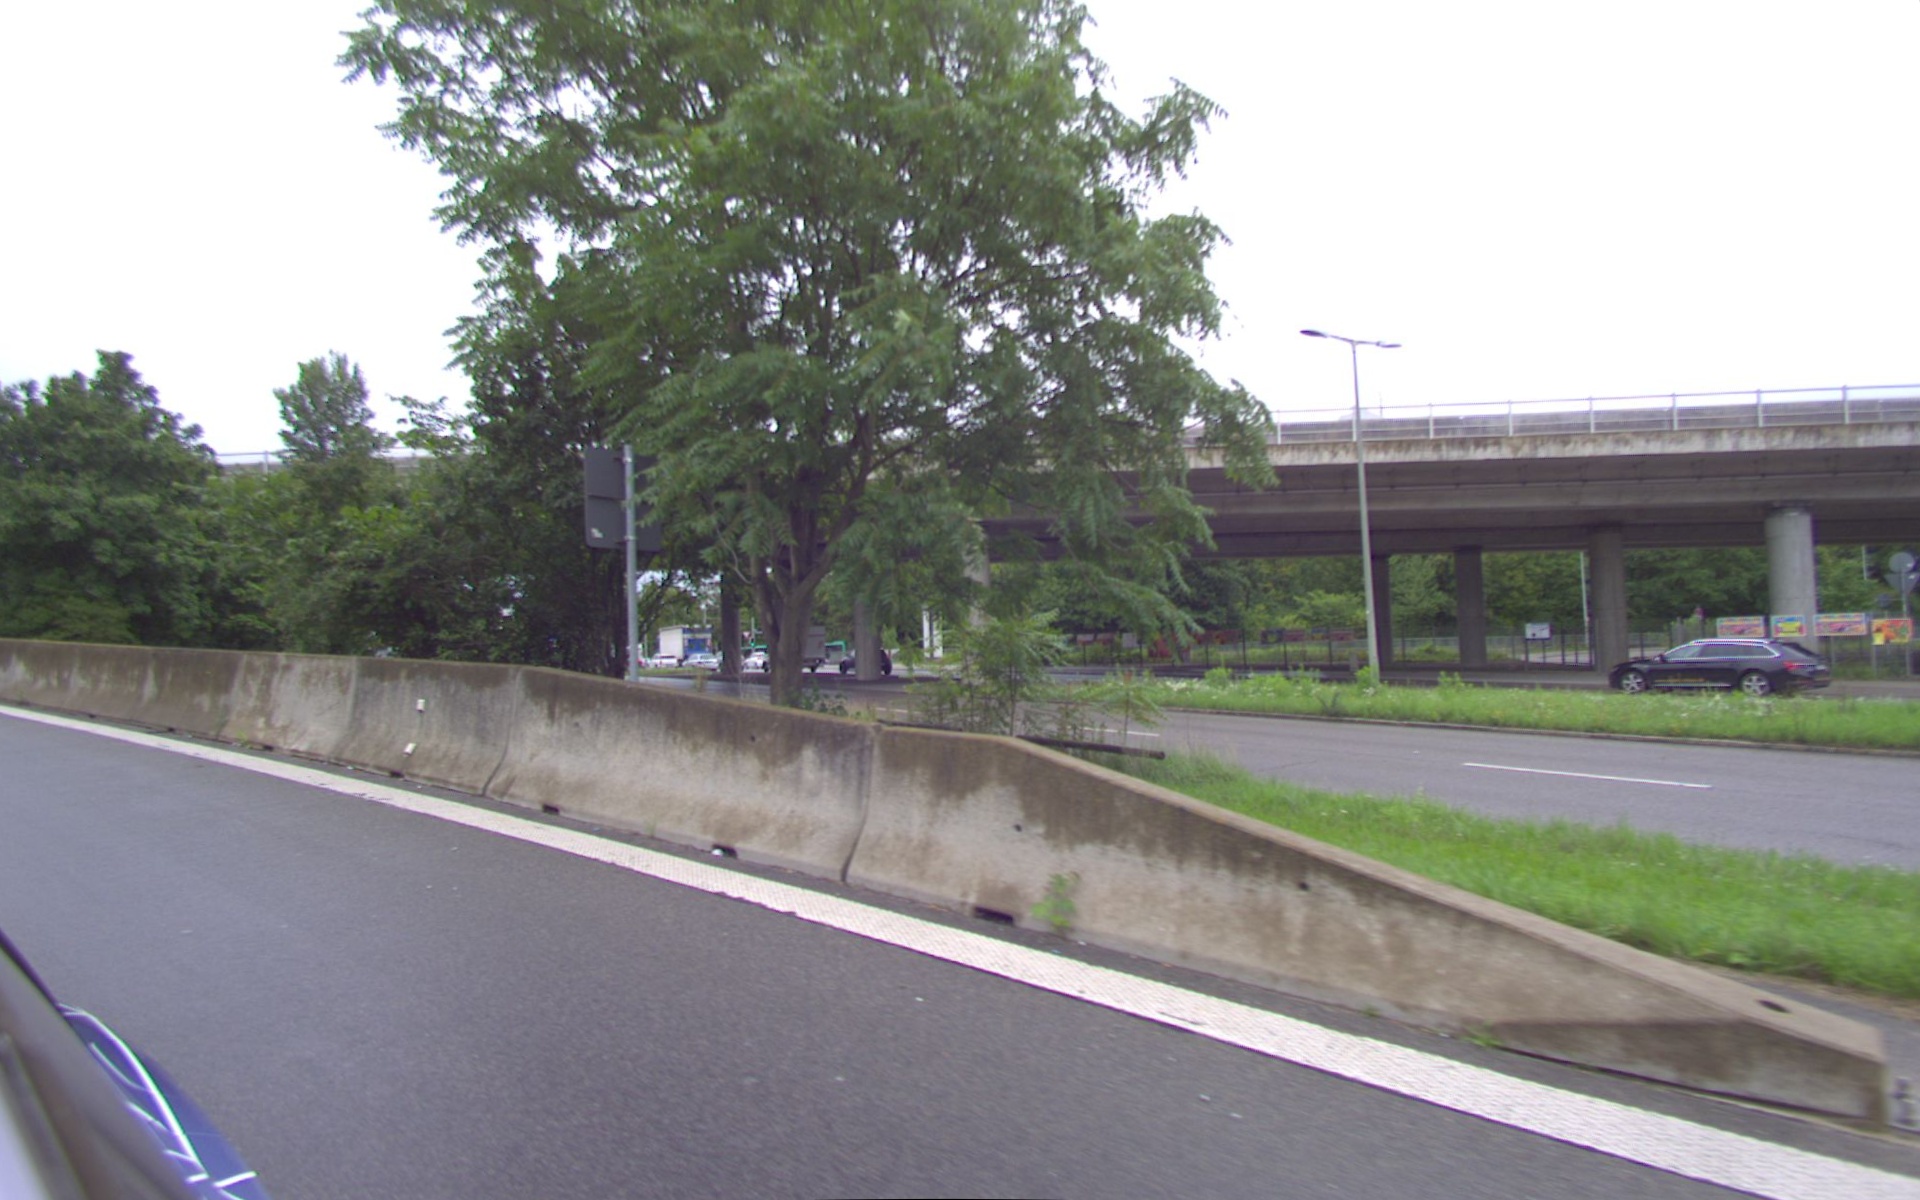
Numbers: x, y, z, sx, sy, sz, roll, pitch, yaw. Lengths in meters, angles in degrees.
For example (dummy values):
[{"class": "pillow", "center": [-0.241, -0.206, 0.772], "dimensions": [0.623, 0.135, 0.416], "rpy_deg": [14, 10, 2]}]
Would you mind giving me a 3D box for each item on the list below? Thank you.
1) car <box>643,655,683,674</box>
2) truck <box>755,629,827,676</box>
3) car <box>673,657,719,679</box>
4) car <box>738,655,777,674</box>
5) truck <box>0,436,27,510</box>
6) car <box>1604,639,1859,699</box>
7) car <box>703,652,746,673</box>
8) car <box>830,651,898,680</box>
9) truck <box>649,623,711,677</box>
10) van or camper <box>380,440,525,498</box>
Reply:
[{"class": "car", "center": [-25.118, 5.453, 85.588], "dimensions": [1.942, 1.595, 4.603], "rpy_deg": [3, -4, -33]}, {"class": "truck", "center": [-11.467, 3.564, 68.099], "dimensions": [2.222, 3.000, 7.254], "rpy_deg": [3, -4, -31]}, {"class": "car", "center": [-19.935, 5.104, 76.361], "dimensions": [1.942, 1.595, 4.603], "rpy_deg": [3, -4, -33]}, {"class": "car", "center": [-18.210, 5.778, 90.714], "dimensions": [1.942, 1.595, 4.604], "rpy_deg": [3, -4, -32]}, {"class": "truck", "center": [-47.263, -5.937, 47.344], "dimensions": [5.130, 3.270, 2.592], "rpy_deg": [-2, -2, 6]}, {"class": "car", "center": [19.769, 1.728, 26.199], "dimensions": [1.941, 1.407, 4.831], "rpy_deg": [1, -3, -30]}, {"class": "car", "center": [-18.606, 4.927, 79.927], "dimensions": [1.941, 1.595, 4.604], "rpy_deg": [3, -4, -31]}, {"class": "car", "center": [-5.505, 3.701, 57.712], "dimensions": [1.942, 1.595, 4.603], "rpy_deg": [3, -4, -33]}, {"class": "truck", "center": [-25.195, 4.520, 90.754], "dimensions": [2.751, 4.627, 9.629], "rpy_deg": [3, -4, -31]}, {"class": "van or camper", "center": [-22.507, -5.772, 45.016], "dimensions": [5.441, 2.029, 2.326], "rpy_deg": [-1, -2, 7]}]
